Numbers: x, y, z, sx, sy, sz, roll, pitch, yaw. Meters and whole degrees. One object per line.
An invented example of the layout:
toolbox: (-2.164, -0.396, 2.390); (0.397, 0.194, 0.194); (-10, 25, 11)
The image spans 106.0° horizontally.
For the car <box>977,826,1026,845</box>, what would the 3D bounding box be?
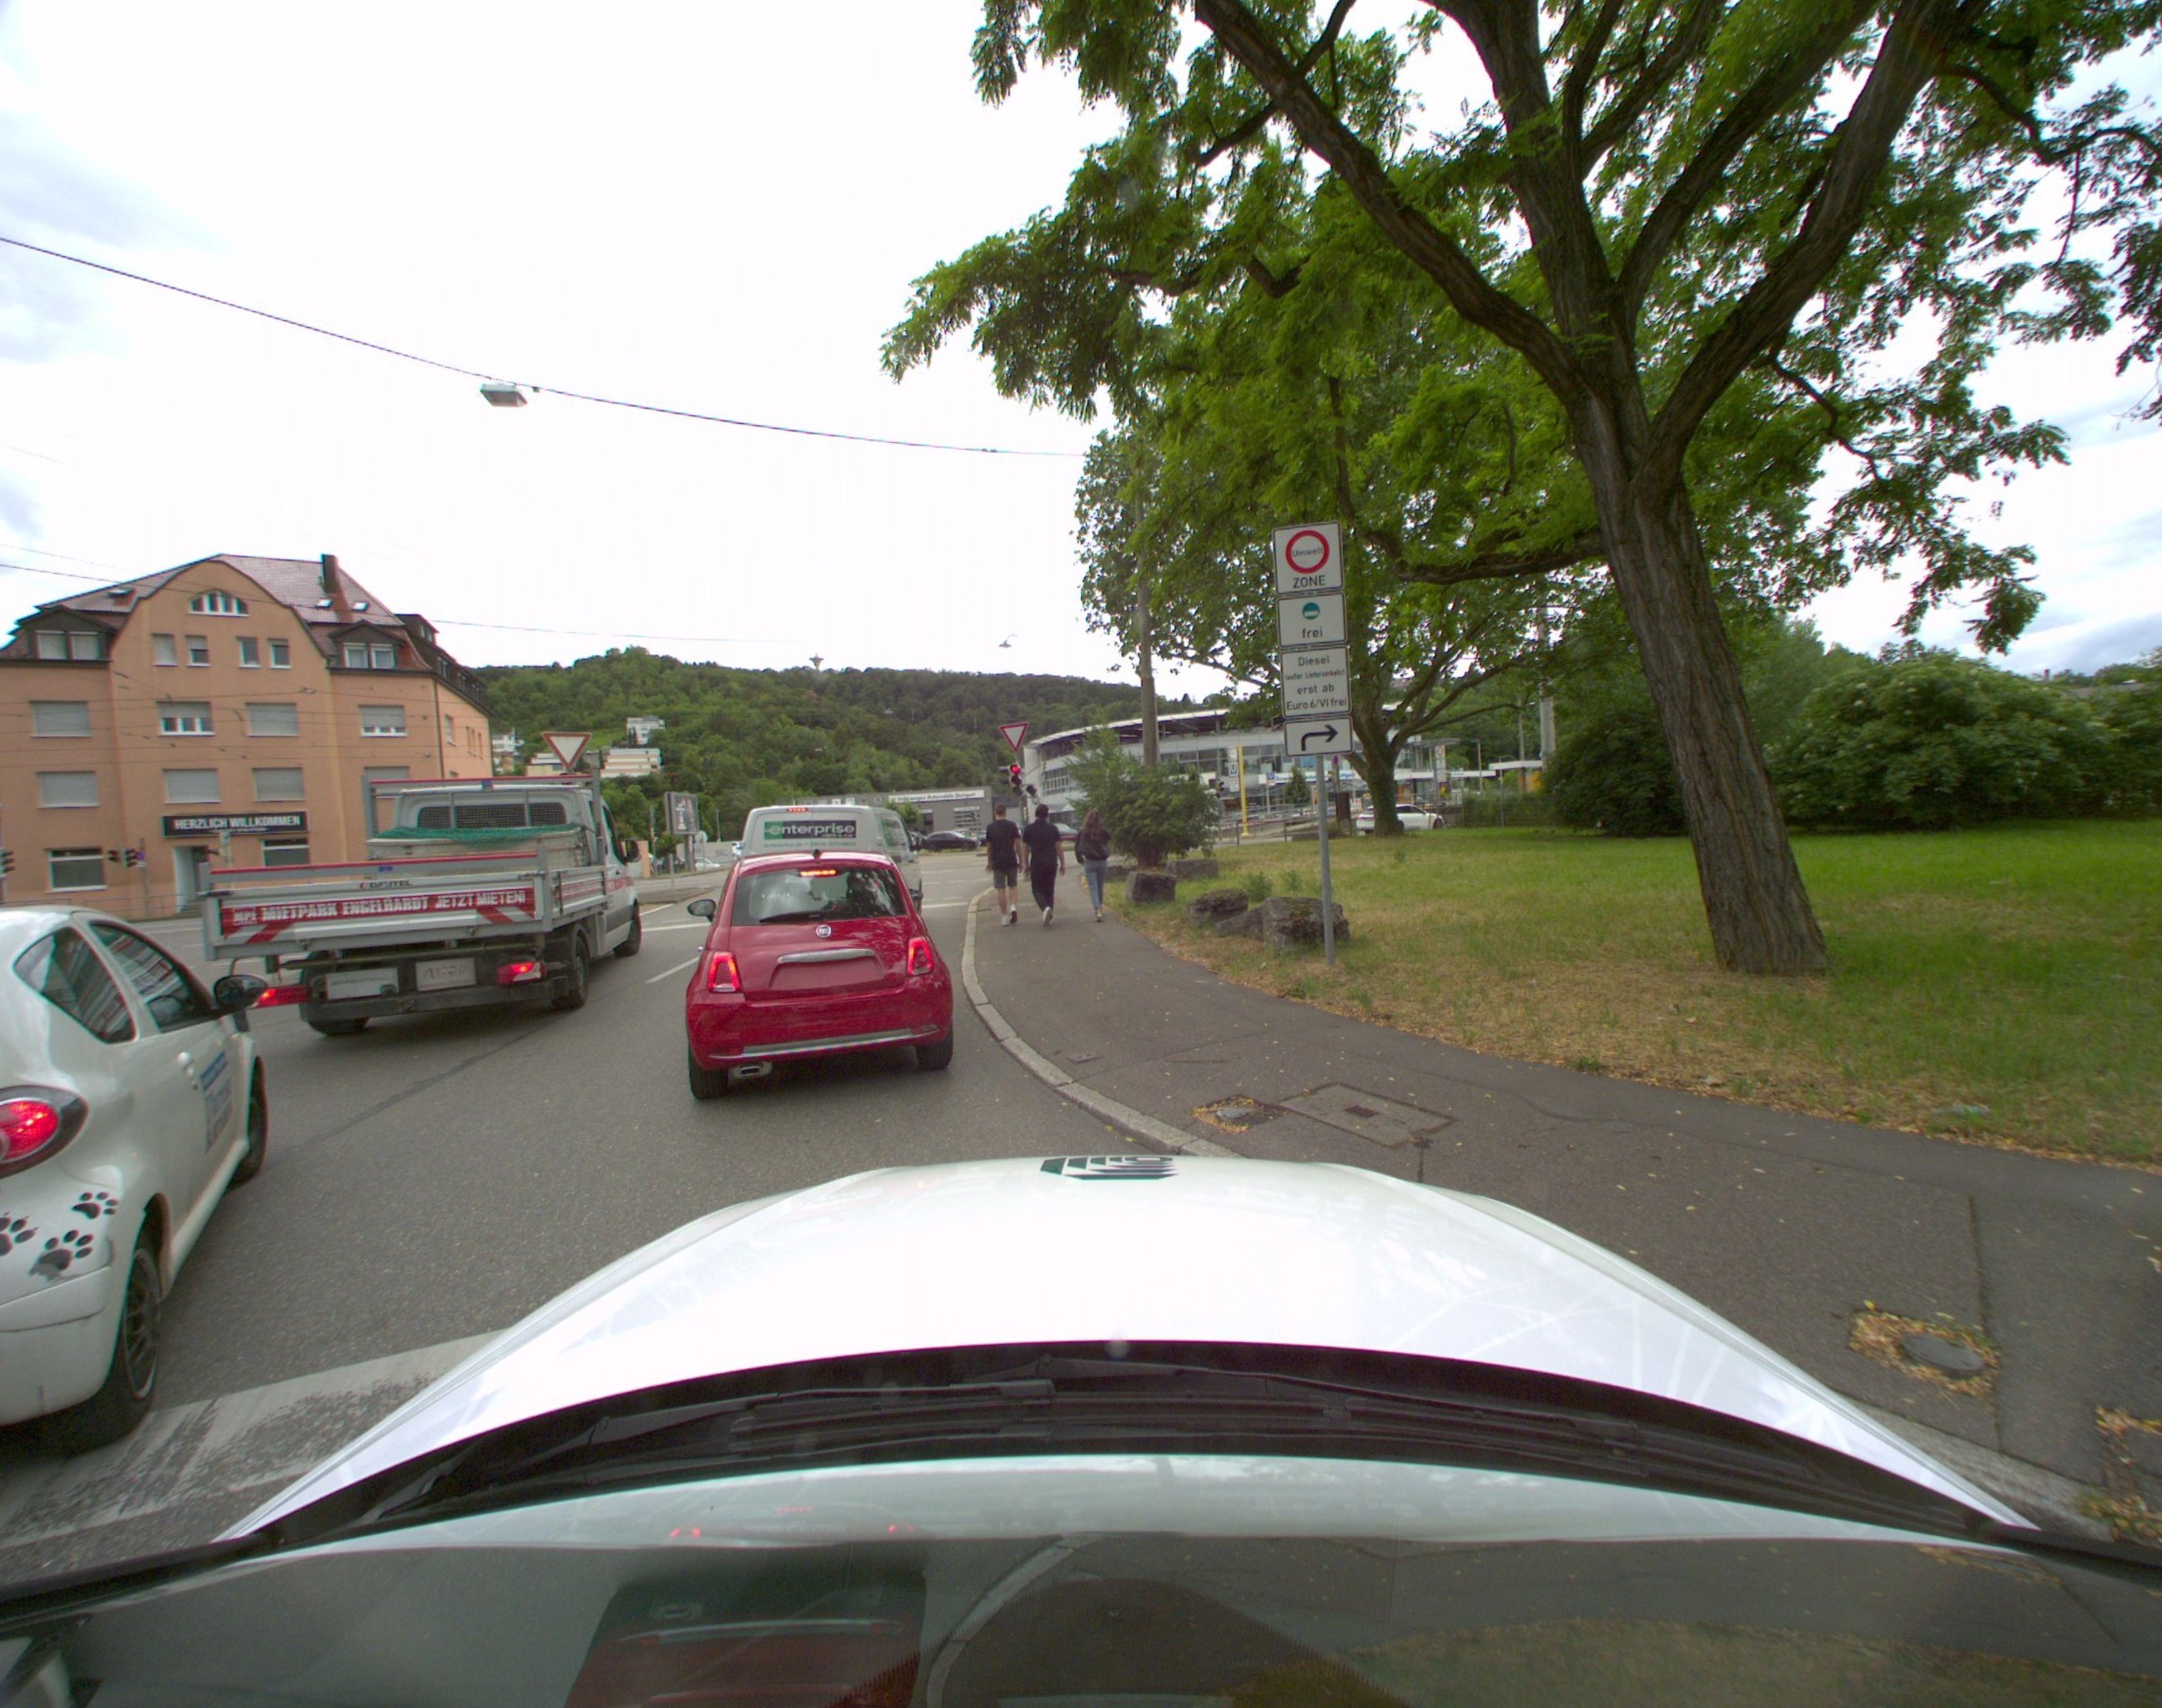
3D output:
car: (-7.972, -1.863, 81.776); (4.790, 1.533, 1.772); (-4, 2, -6)

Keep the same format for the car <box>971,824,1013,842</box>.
car: (-10.517, -2.496, 96.670); (4.790, 1.802, 1.772); (-4, 2, -6)

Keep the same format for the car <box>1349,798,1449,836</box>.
car: (15.594, -1.819, 39.837); (4.911, 1.507, 1.788); (-5, 3, -29)

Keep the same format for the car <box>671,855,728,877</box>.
car: (-32.577, 0.994, 69.679); (4.223, 1.533, 1.762); (-5, 2, -24)

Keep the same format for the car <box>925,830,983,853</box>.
car: (-9.577, -0.943, 61.594); (3.846, 1.500, 1.780); (-3, 2, 8)

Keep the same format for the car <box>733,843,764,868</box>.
car: (-26.896, 0.119, 65.996); (1.864, 1.817, 4.377); (-4, 2, -17)

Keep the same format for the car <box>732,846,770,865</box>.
car: (-29.221, 0.123, 72.104); (1.785, 1.533, 4.041); (-5, 3, -41)

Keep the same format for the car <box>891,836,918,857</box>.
car: (-16.920, -0.790, 78.129); (1.992, 1.815, 3.991); (-4, 2, -7)

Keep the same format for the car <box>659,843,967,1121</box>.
car: (-2.073, 0.694, 6.393); (1.644, 1.456, 3.409); (-3, 2, -19)

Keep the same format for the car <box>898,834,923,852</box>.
car: (-16.372, -1.086, 78.209); (1.767, 1.533, 4.083); (-4, 2, -5)

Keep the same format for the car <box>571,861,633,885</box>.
car: (-39.045, 1.544, 66.452); (4.231, 1.533, 1.758); (-5, 2, -30)

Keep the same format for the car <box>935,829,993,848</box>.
car: (-10.122, -1.373, 70.740); (4.649, 1.327, 1.779); (-4, 2, 5)

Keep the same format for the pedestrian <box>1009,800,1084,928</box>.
pedestrian: (-0.501, 0.124, 11.600); (0.697, 1.714, 0.781); (-5, 2, -27)

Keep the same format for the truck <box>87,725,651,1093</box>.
truck: (-6.406, 0.283, 8.629); (2.431, 2.397, 5.986); (-5, 2, -21)

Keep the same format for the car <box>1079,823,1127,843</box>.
car: (1.823, -1.749, 68.946); (1.785, 1.500, 3.975); (-5, 2, -39)

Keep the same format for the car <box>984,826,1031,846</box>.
car: (-7.717, -1.867, 85.420); (4.790, 1.802, 1.772); (-4, 2, -6)

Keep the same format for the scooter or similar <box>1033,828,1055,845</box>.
scooter or similar: (-2.896, -1.361, 63.729); (1.663, 1.177, 0.467); (-4, 2, -2)

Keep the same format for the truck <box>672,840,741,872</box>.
truck: (-33.424, 0.168, 72.781); (5.225, 2.392, 1.978); (-5, 2, -36)

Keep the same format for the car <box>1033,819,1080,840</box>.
car: (-2.024, -2.006, 66.764); (1.785, 1.500, 3.835); (-5, 3, -41)

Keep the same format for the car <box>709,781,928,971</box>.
car: (-3.539, 0.189, 12.010); (1.987, 2.106, 4.751); (-4, 2, -6)

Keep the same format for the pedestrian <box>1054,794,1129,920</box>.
pedestrian: (0.145, 0.036, 11.966); (0.697, 1.739, 0.781); (-5, 2, -27)

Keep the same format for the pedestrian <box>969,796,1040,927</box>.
pedestrian: (-1.153, 0.100, 12.190); (0.697, 1.857, 0.781); (-5, 2, -27)

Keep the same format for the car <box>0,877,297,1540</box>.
car: (-3.964, 0.871, 2.678); (1.653, 1.432, 3.390); (-6, 2, -40)
